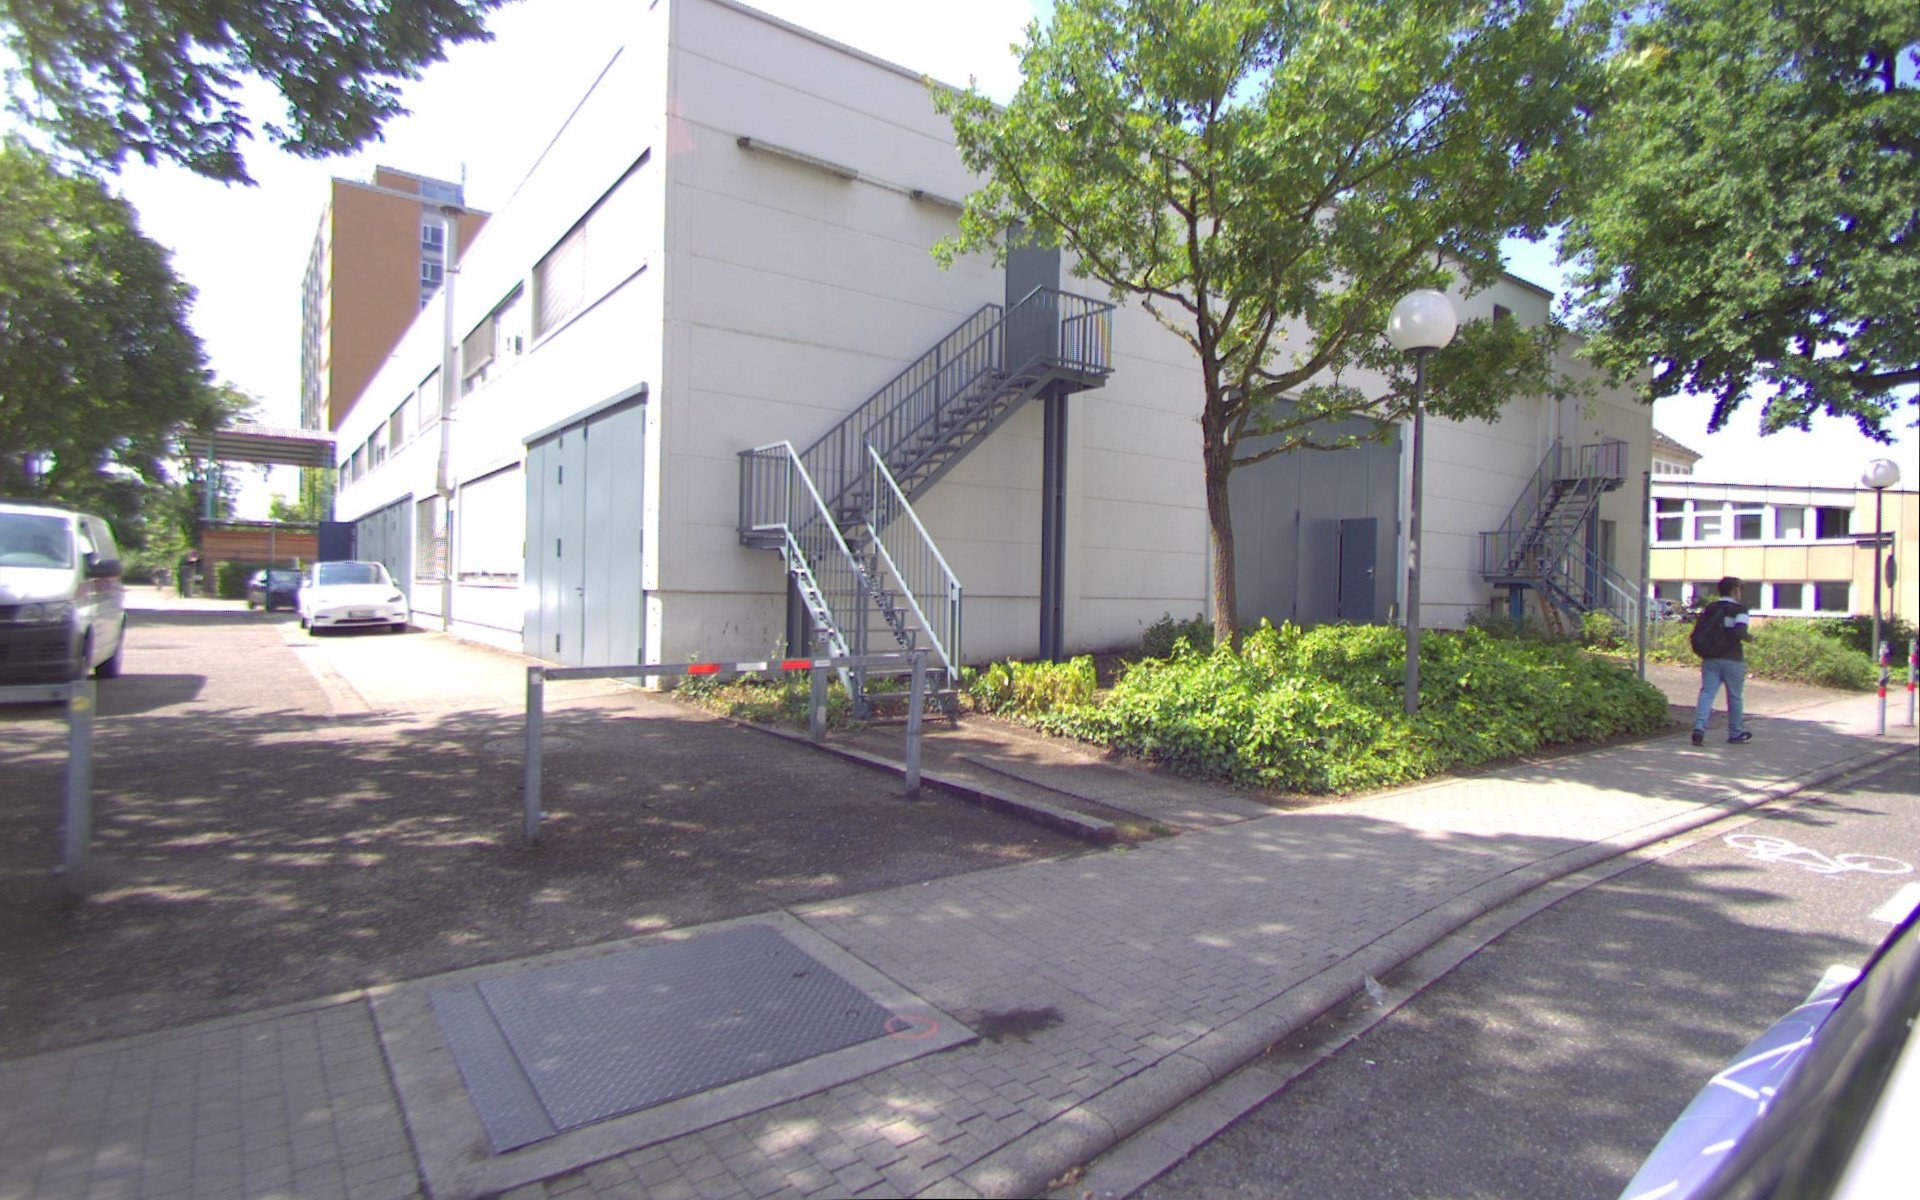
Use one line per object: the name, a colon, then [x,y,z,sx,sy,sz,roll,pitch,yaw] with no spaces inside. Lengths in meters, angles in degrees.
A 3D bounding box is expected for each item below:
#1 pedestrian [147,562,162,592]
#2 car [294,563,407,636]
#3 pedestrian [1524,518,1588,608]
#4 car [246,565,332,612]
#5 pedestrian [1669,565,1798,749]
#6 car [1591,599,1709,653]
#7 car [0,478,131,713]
pedestrian: [-56.174,-1.589,70.584,0.739,2.039,0.816,1,0,-43]
car: [-14.400,-0.081,23.802,1.962,1.562,4.094,-1,2,-35]
pedestrian: [13.903,-0.846,23.617,0.931,2.039,0.930,1,1,-33]
car: [-23.775,-0.447,35.809,1.912,1.562,4.085,-2,2,-43]
pedestrian: [7.645,0.522,9.990,1.234,1.695,0.741,1,0,-40]
car: [20.759,0.749,30.398,4.103,1.495,1.672,1,1,-37]
car: [-10.152,-0.106,10.505,2.022,2.039,4.841,1,1,-35]
